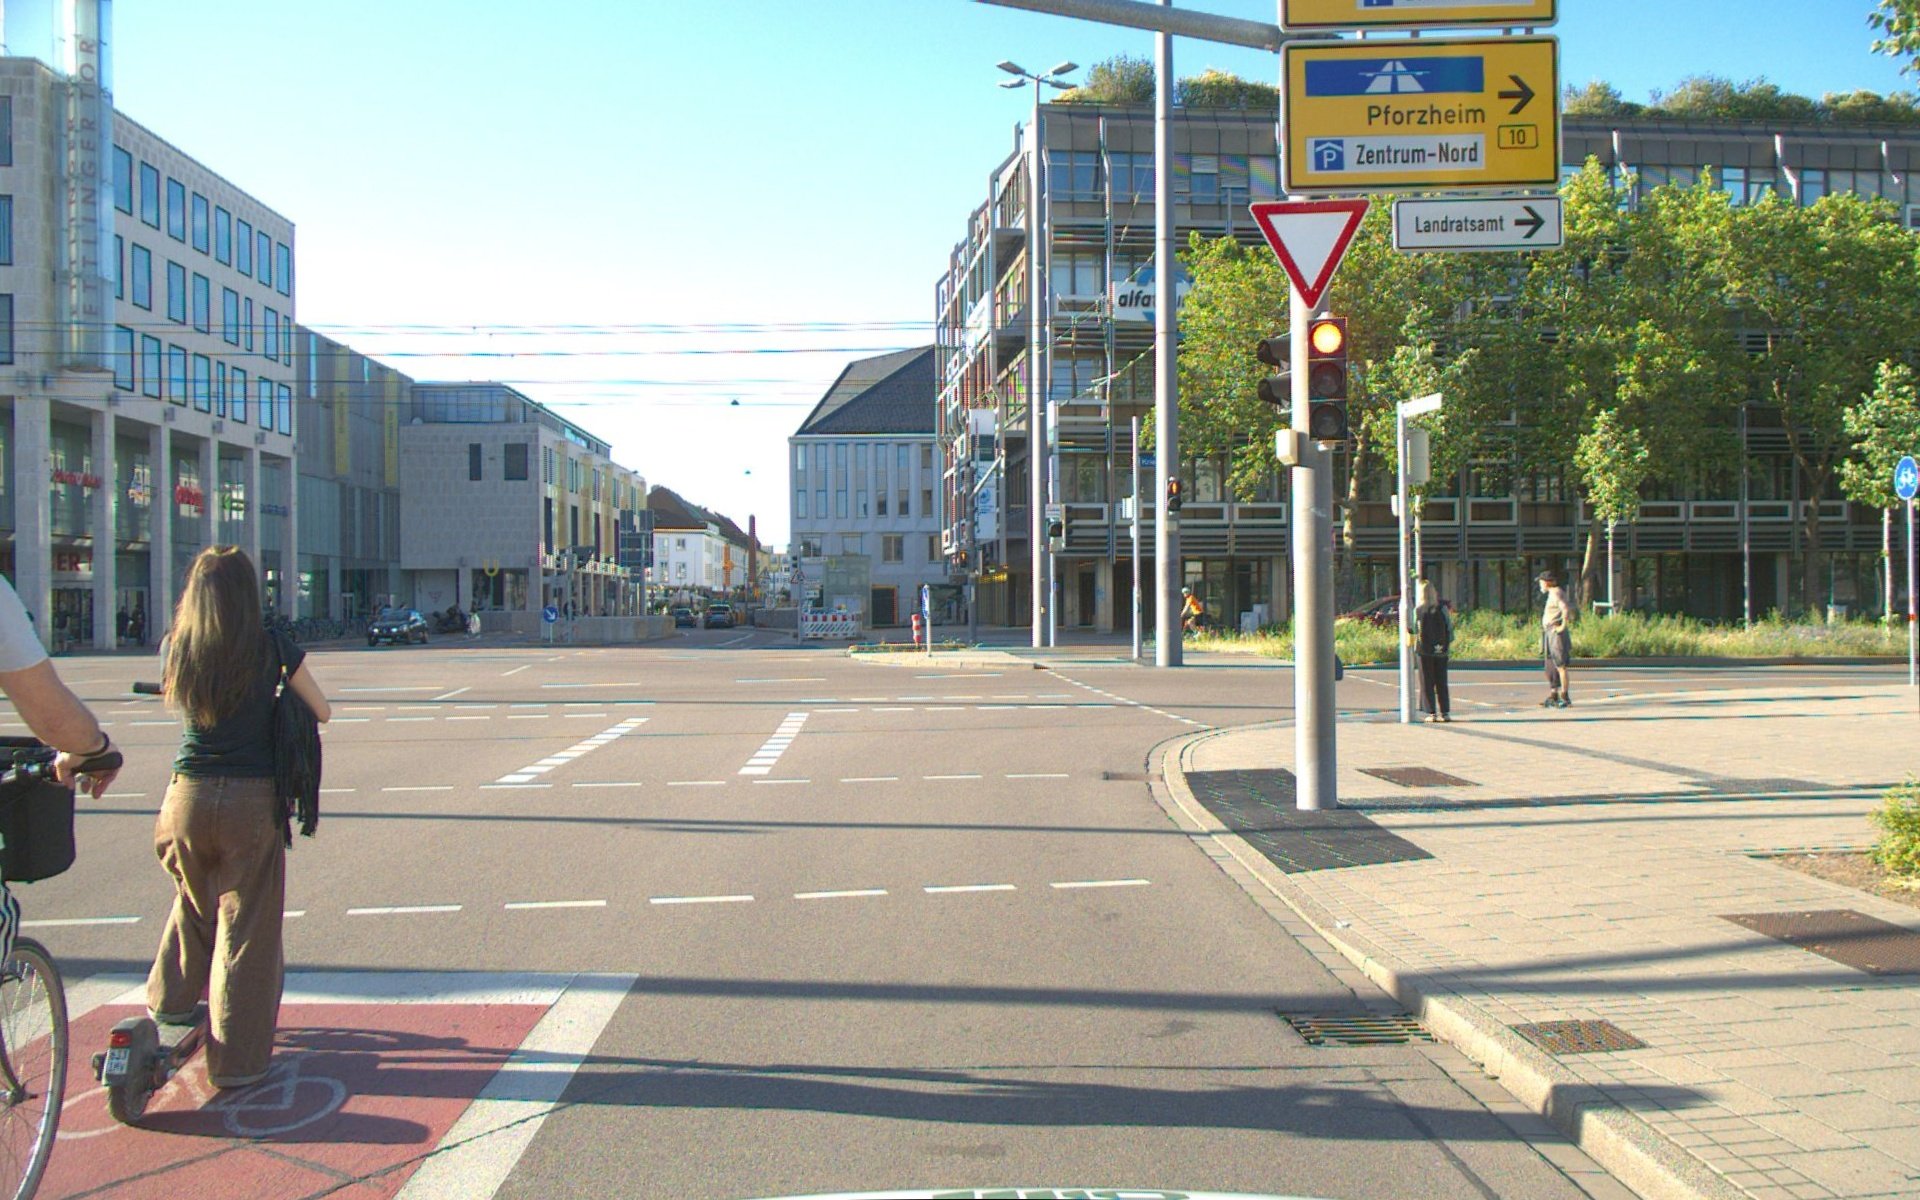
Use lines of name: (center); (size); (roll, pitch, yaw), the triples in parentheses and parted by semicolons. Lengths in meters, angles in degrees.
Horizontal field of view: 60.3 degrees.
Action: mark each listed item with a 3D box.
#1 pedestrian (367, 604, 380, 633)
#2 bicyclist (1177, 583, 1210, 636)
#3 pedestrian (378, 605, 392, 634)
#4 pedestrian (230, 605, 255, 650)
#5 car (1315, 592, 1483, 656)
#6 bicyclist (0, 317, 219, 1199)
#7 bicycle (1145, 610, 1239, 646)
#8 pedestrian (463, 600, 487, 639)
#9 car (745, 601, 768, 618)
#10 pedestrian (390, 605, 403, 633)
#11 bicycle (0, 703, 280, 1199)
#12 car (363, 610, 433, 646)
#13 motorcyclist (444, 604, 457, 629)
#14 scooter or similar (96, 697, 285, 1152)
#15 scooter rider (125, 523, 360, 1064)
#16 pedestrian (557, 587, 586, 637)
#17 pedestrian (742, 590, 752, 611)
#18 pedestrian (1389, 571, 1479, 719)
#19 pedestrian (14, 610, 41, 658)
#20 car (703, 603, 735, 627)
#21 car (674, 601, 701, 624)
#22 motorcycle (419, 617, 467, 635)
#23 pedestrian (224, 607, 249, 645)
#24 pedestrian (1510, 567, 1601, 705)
pedestrian: (-36.127, 1.147, 101.863); (0.462, 1.759, 0.518); (0, -1, 38)
bicyclist: (6.670, 0.276, 47.223); (0.806, 1.500, 0.652); (-1, 0, -5)
pedestrian: (-35.024, 1.162, 100.784); (0.462, 1.759, 0.626); (1, -1, 33)
pedestrian: (-27.833, 1.067, 64.202); (0.685, 1.718, 0.619); (-1, 0, 0)
car: (12.355, 0.647, 46.598); (4.212, 1.713, 1.820); (-1, 0, -11)
bicyclist: (-1.993, 0.396, 3.131); (0.789, 1.730, 0.851); (0, 0, -1)
bicycle: (6.608, 0.794, 47.209); (2.517, 0.992, 1.047); (-1, 0, -4)
pedestrian: (-22.730, 0.893, 77.598); (0.881, 1.814, 0.808); (0, 0, -1)
car: (-17.904, 0.839, 145.703); (1.625, 1.484, 3.541); (-1, 0, -1)
pedestrian: (-35.162, 1.168, 103.215); (0.461, 1.759, 0.627); (1, -1, 28)
bicycle: (-2.007, 0.842, 3.071); (0.724, 1.167, 1.890); (0, 0, -1)
car: (-23.548, 1.150, 69.445); (1.642, 1.381, 4.019); (-1, 0, -2)
motorcyclist: (-30.162, 0.979, 97.913); (0.616, 1.430, 0.661); (1, -1, -9)
scooter or similar: (-2.181, 0.871, 4.744); (0.301, 1.127, 0.836); (-1, 0, -12)
scooter rider: (-2.161, 0.555, 5.027); (0.542, 1.556, 0.448); (-1, 0, -9)
pedestrian: (-14.650, 0.452, 62.363); (0.923, 1.897, 0.539); (-1, 0, 16)
pedestrian: (-21.145, 0.038, 164.364); (0.892, 1.999, 0.822); (1, -1, -1)
pedestrian: (5.428, 0.501, 18.979); (0.750, 1.642, 0.874); (-1, 0, -2)
pedestrian: (-32.931, 1.203, 58.408); (0.580, 1.674, 0.629); (-1, 0, -1)
car: (-15.694, 0.955, 107.826); (1.625, 1.484, 3.541); (-1, 0, -1)
car: (-20.909, 0.968, 127.027); (1.784, 1.713, 3.996); (-1, 0, -5)
motorcycle: (-30.547, 1.527, 97.672); (2.555, 1.010, 1.113); (1, 0, -10)
pedestrian: (-32.204, 1.164, 73.613); (0.760, 1.667, 0.626); (-1, 0, 11)
pedestrian: (7.636, 0.450, 21.228); (0.854, 1.736, 0.768); (-1, 0, -3)
